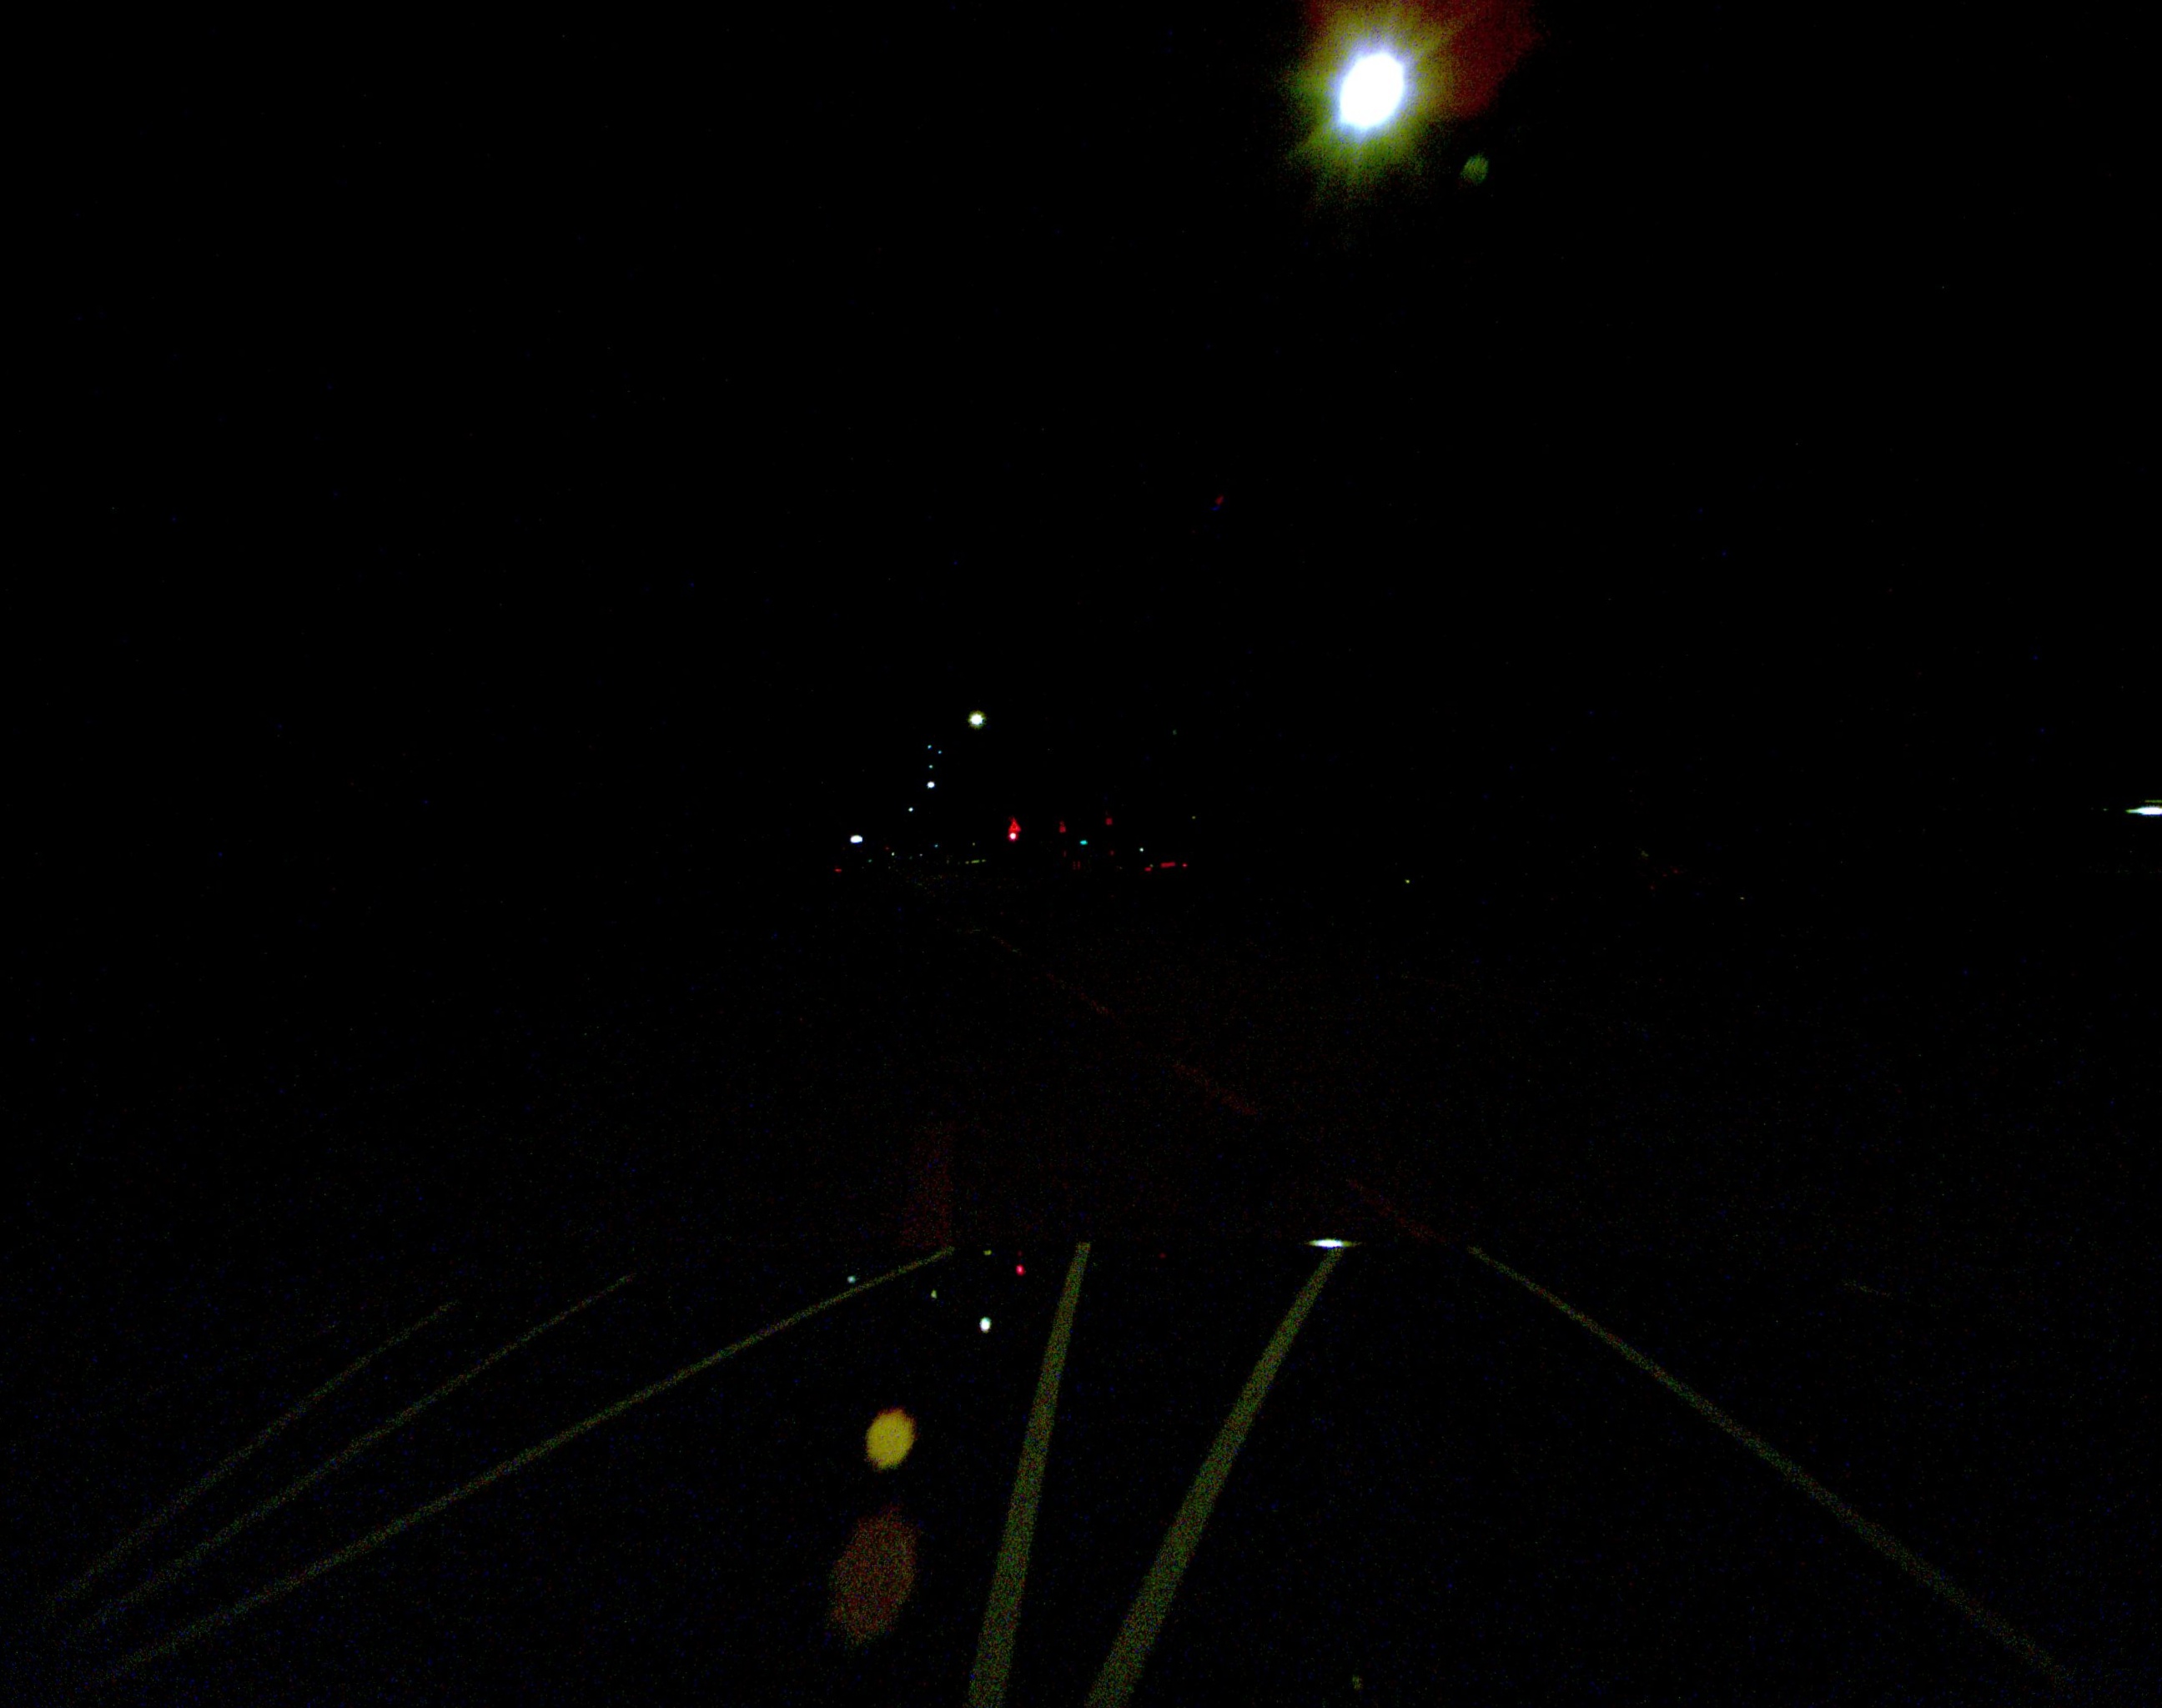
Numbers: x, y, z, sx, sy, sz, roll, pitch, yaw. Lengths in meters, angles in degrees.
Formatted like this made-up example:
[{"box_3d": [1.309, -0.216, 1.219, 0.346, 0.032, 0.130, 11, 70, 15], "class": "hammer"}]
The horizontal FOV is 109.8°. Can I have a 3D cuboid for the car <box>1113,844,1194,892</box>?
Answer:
[{"box_3d": [2.410, 0.439, 26.241, 1.634, 1.455, 3.510, -3, 1, -14], "class": "car"}]

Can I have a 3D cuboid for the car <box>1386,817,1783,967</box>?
[{"box_3d": [6.292, 0.401, 10.225, 1.644, 1.425, 4.344, -6, 1, -16], "class": "car"}]

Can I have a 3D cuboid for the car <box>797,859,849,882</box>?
[{"box_3d": [-22.164, 1.401, 65.351, 4.002, 1.622, 1.871, -3, 1, -15], "class": "car"}]

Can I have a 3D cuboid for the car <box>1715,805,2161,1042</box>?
[{"box_3d": [7.511, 0.418, 5.478, 1.557, 1.425, 4.342, -6, 1, -15], "class": "car"}]
